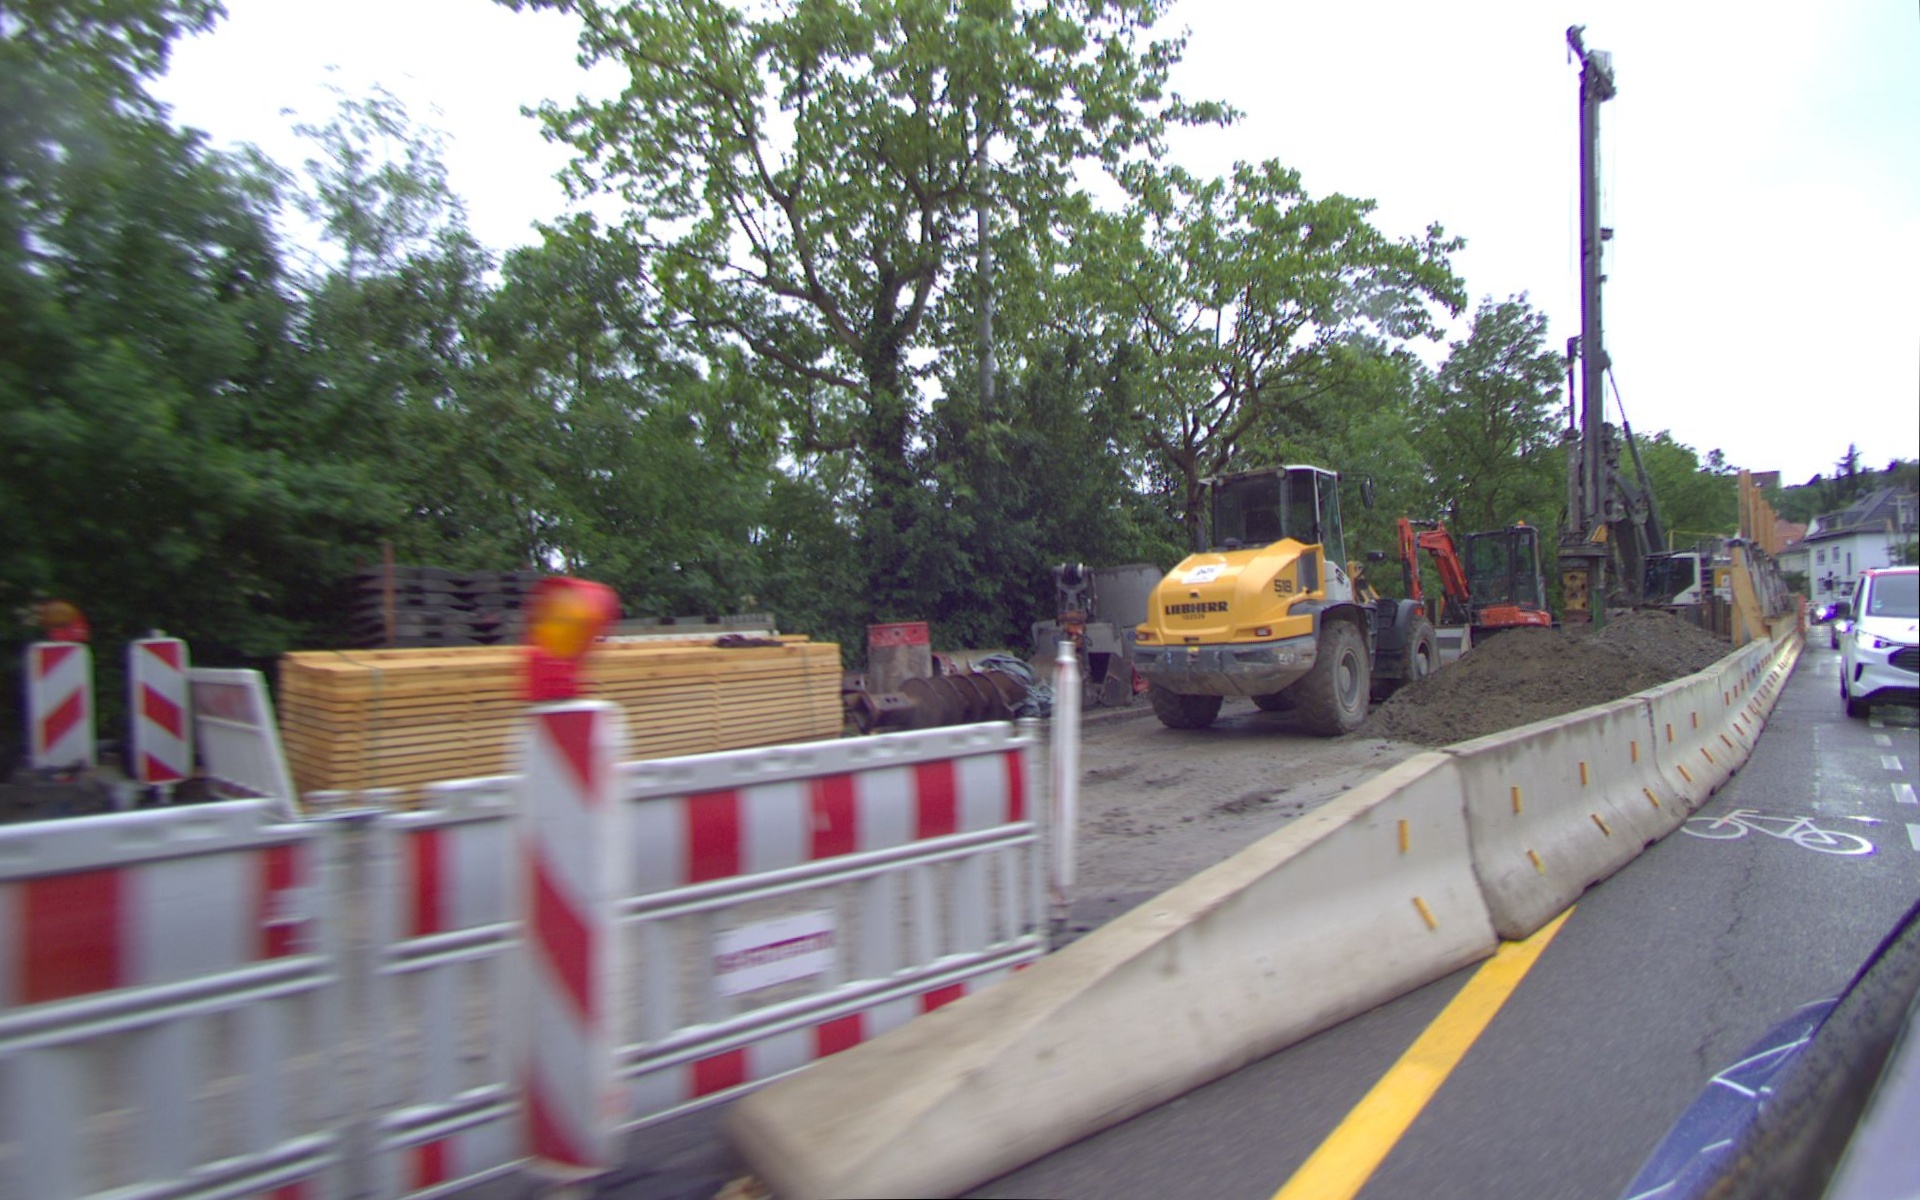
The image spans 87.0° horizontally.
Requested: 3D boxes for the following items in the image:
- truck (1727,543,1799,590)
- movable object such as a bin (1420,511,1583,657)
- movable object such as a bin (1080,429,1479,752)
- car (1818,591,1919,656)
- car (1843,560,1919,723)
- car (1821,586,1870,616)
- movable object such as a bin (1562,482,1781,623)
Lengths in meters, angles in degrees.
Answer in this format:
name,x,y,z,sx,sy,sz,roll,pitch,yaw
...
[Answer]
name,x,y,z,sx,sy,sz,roll,pitch,yaw
truck,38.192,-1.553,48.132,2.548,2.134,3.255,0,1,41
movable object such as a bin,10.788,-0.283,20.087,2.094,2.634,3.129,-3,-1,42
movable object such as a bin,4.201,-0.107,12.617,2.493,3.115,5.501,-3,-1,44
car,24.288,0.611,26.996,1.884,1.594,3.937,-2,-2,43
car,13.295,0.430,13.560,2.037,1.918,5.134,-3,-1,40
car,50.164,0.079,57.317,1.884,1.594,3.937,-2,-2,43
movable object such as a bin,27.912,-1.797,39.773,7.012,5.130,3.702,-1,0,-20
